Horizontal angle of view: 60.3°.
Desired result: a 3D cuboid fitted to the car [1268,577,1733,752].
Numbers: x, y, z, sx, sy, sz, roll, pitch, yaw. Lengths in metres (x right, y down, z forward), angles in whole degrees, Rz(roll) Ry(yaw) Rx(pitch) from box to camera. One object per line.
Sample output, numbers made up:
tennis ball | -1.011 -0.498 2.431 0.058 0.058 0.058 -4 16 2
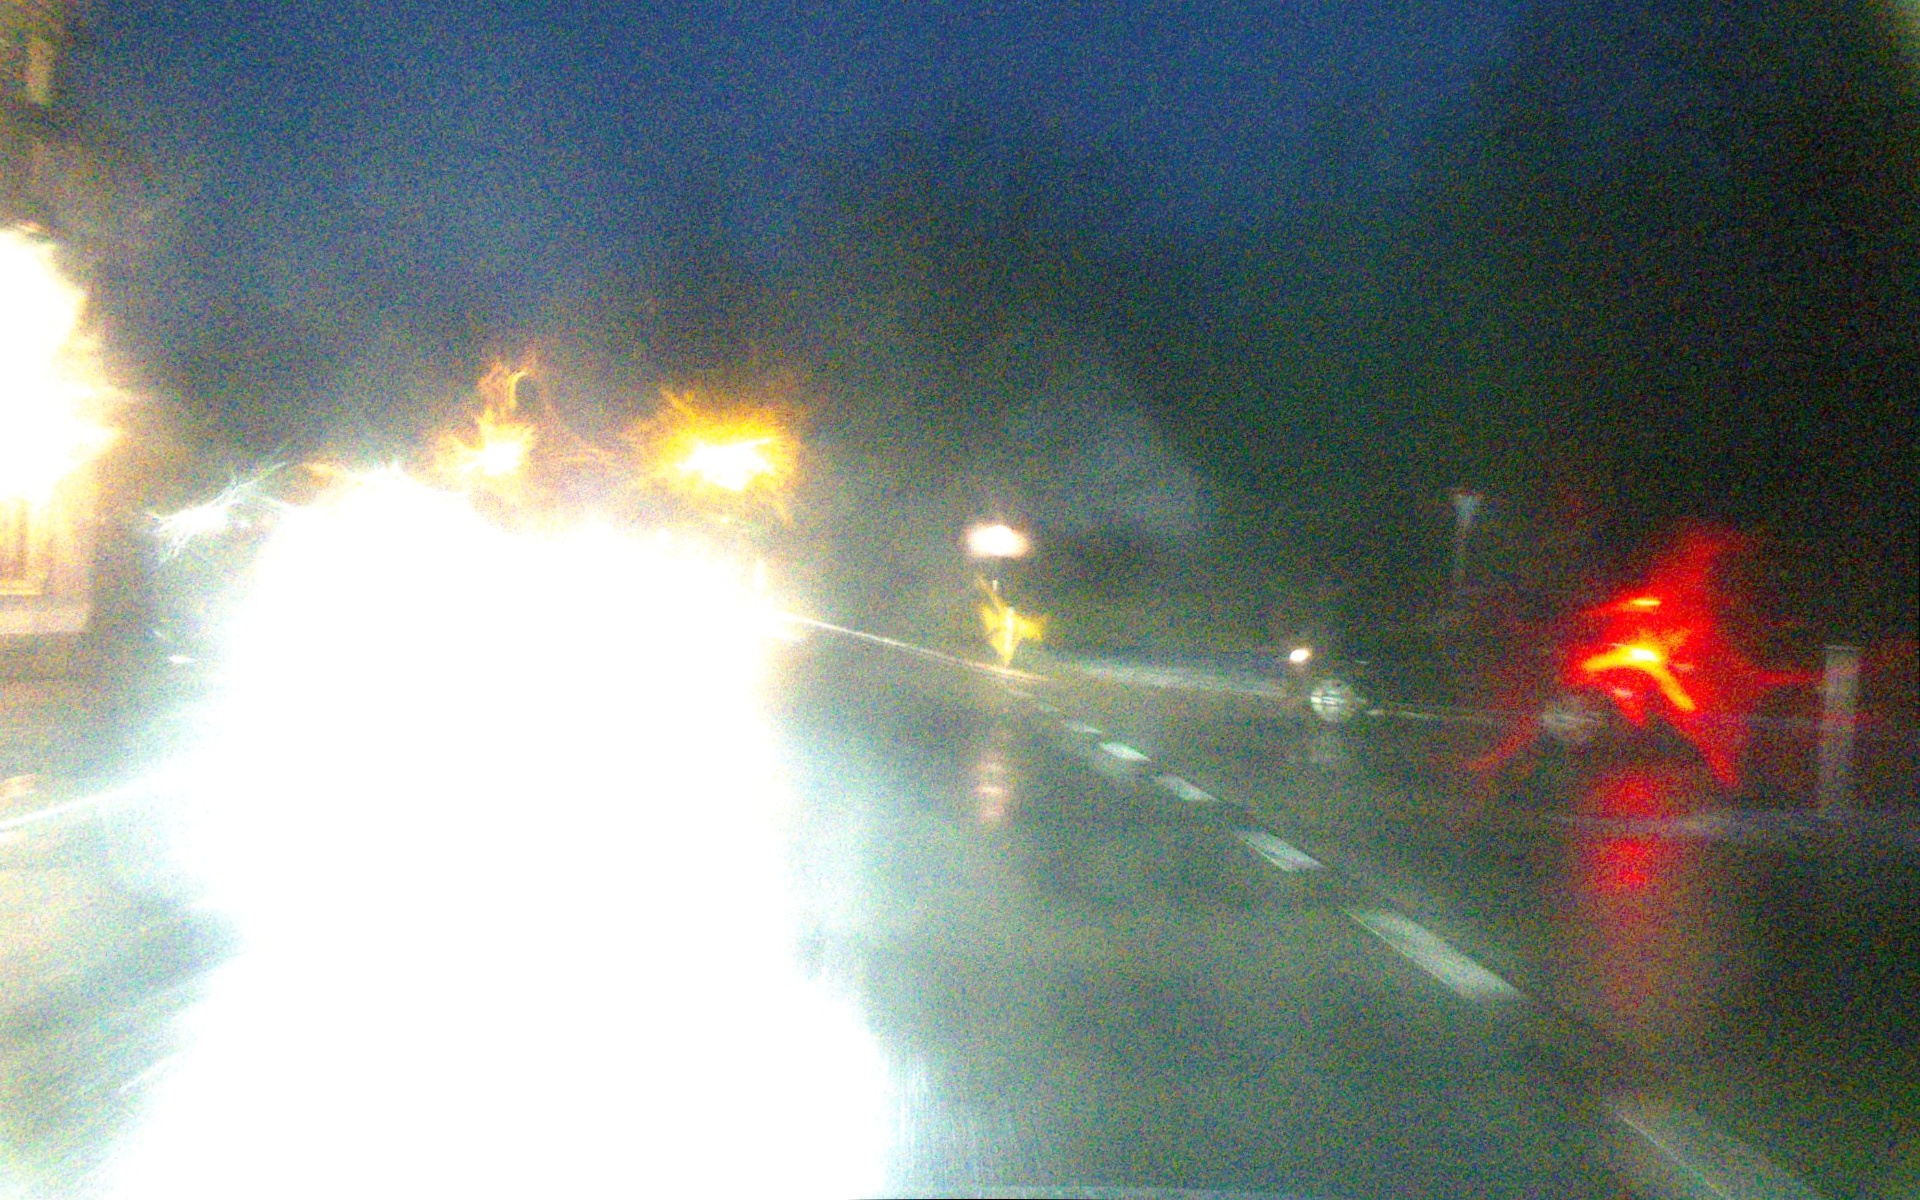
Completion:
car | 6.106 0.666 19.004 4.686 1.721 1.951 1 -1 40

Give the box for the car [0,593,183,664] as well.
car | -19.096 0.605 35.866 1.805 1.400 4.739 2 -1 6

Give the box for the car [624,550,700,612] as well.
car | -13.732 -0.924 75.851 2.501 2.540 5.683 0 3 -20

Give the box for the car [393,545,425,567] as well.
car | -39.695 -3.137 119.072 1.616 1.537 4.082 -1 2 -26

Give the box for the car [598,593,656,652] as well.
car | -10.154 0.658 50.501 1.665 1.627 3.790 1 1 -11

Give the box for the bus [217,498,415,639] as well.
bus | -20.658 -1.030 52.371 2.869 3.936 12.900 1 1 -35

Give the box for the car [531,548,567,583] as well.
car | -25.841 -2.160 104.074 1.959 2.049 3.987 2 -1 -12

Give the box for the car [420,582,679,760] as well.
car | -4.077 0.672 17.160 1.918 1.549 4.394 2 -1 -5
